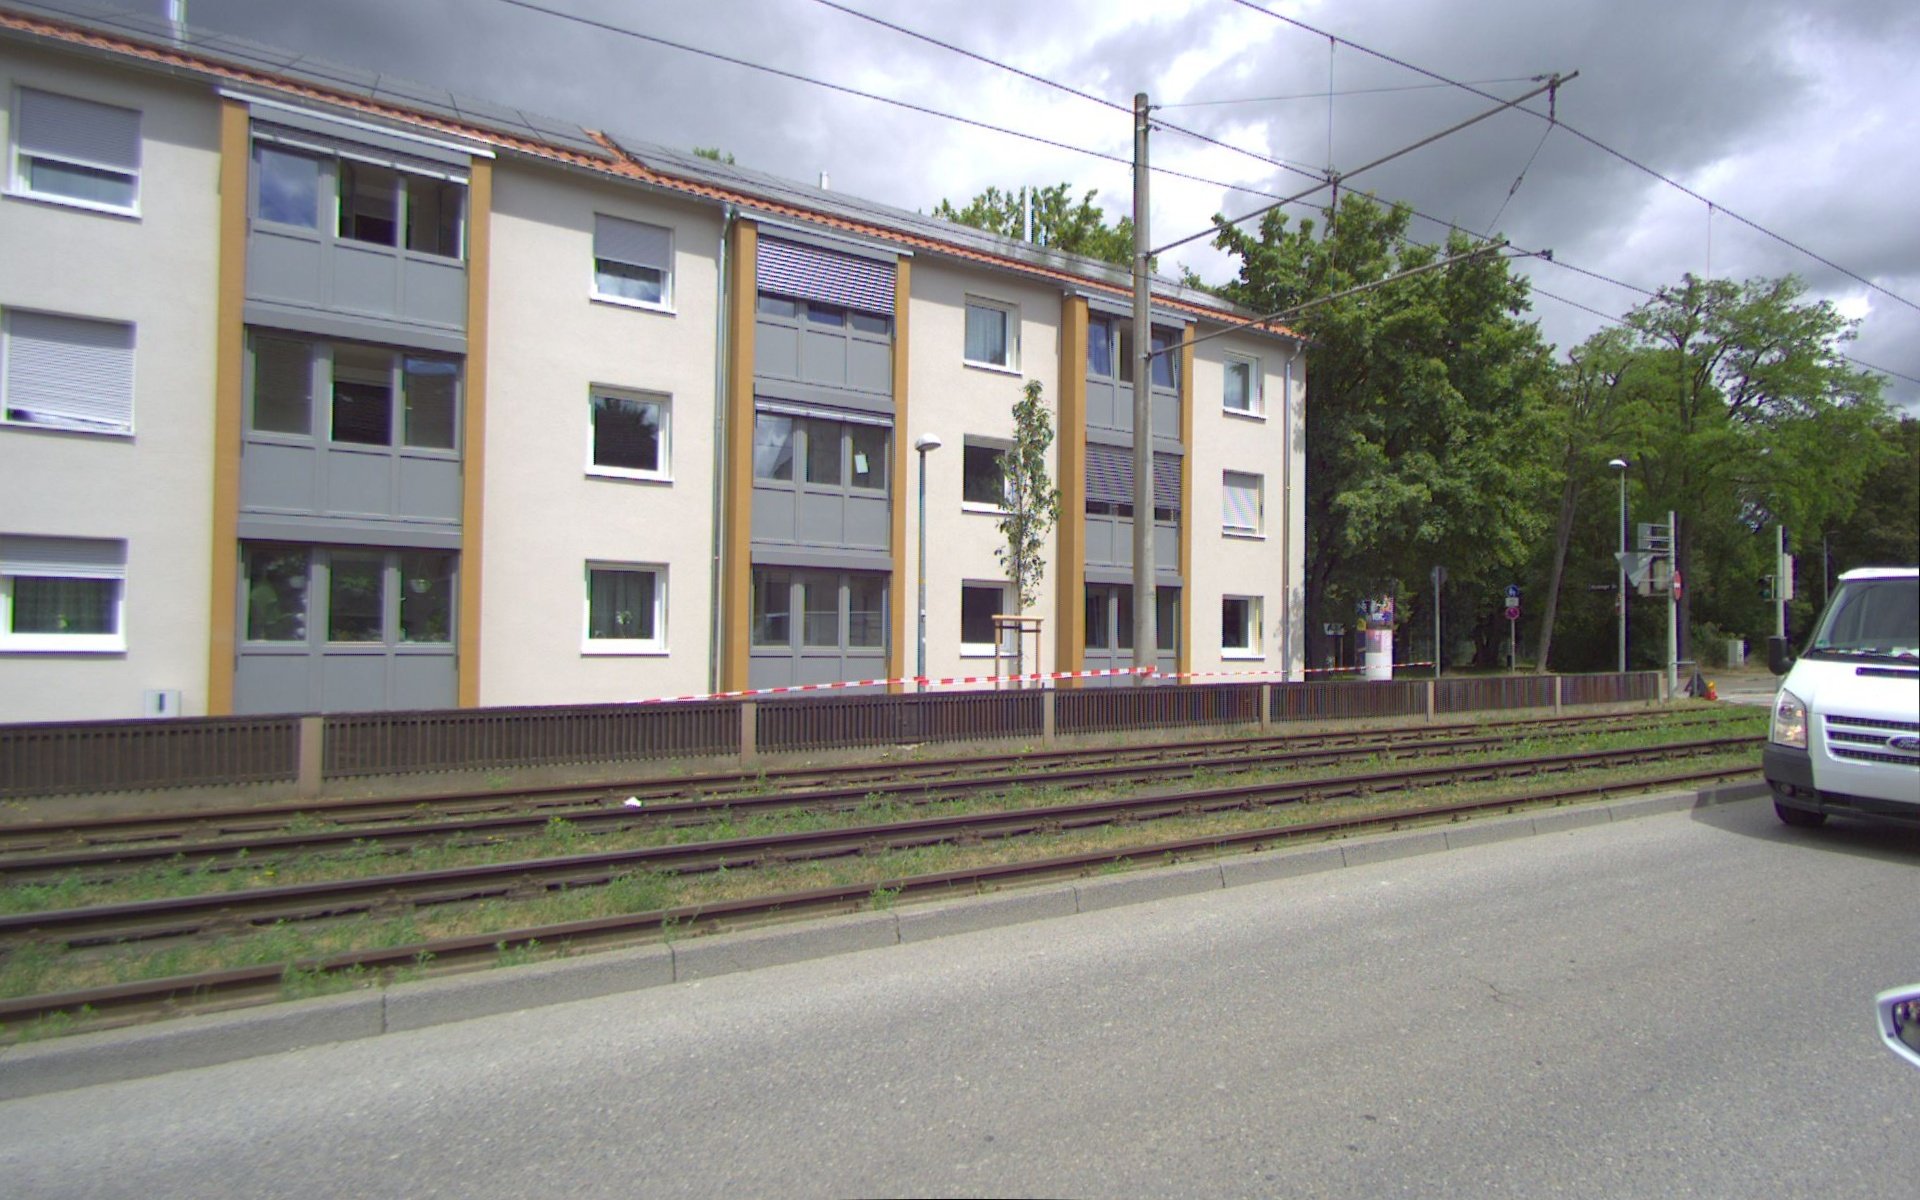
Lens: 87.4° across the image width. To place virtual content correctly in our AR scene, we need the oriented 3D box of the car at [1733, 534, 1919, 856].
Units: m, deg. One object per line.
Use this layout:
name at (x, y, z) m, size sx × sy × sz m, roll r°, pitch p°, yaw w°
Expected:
car at (8.047, 0.641, 7.564) m, size 4.732 × 2.023 × 1.983 m, roll 1°, pitch -1°, yaw -32°
